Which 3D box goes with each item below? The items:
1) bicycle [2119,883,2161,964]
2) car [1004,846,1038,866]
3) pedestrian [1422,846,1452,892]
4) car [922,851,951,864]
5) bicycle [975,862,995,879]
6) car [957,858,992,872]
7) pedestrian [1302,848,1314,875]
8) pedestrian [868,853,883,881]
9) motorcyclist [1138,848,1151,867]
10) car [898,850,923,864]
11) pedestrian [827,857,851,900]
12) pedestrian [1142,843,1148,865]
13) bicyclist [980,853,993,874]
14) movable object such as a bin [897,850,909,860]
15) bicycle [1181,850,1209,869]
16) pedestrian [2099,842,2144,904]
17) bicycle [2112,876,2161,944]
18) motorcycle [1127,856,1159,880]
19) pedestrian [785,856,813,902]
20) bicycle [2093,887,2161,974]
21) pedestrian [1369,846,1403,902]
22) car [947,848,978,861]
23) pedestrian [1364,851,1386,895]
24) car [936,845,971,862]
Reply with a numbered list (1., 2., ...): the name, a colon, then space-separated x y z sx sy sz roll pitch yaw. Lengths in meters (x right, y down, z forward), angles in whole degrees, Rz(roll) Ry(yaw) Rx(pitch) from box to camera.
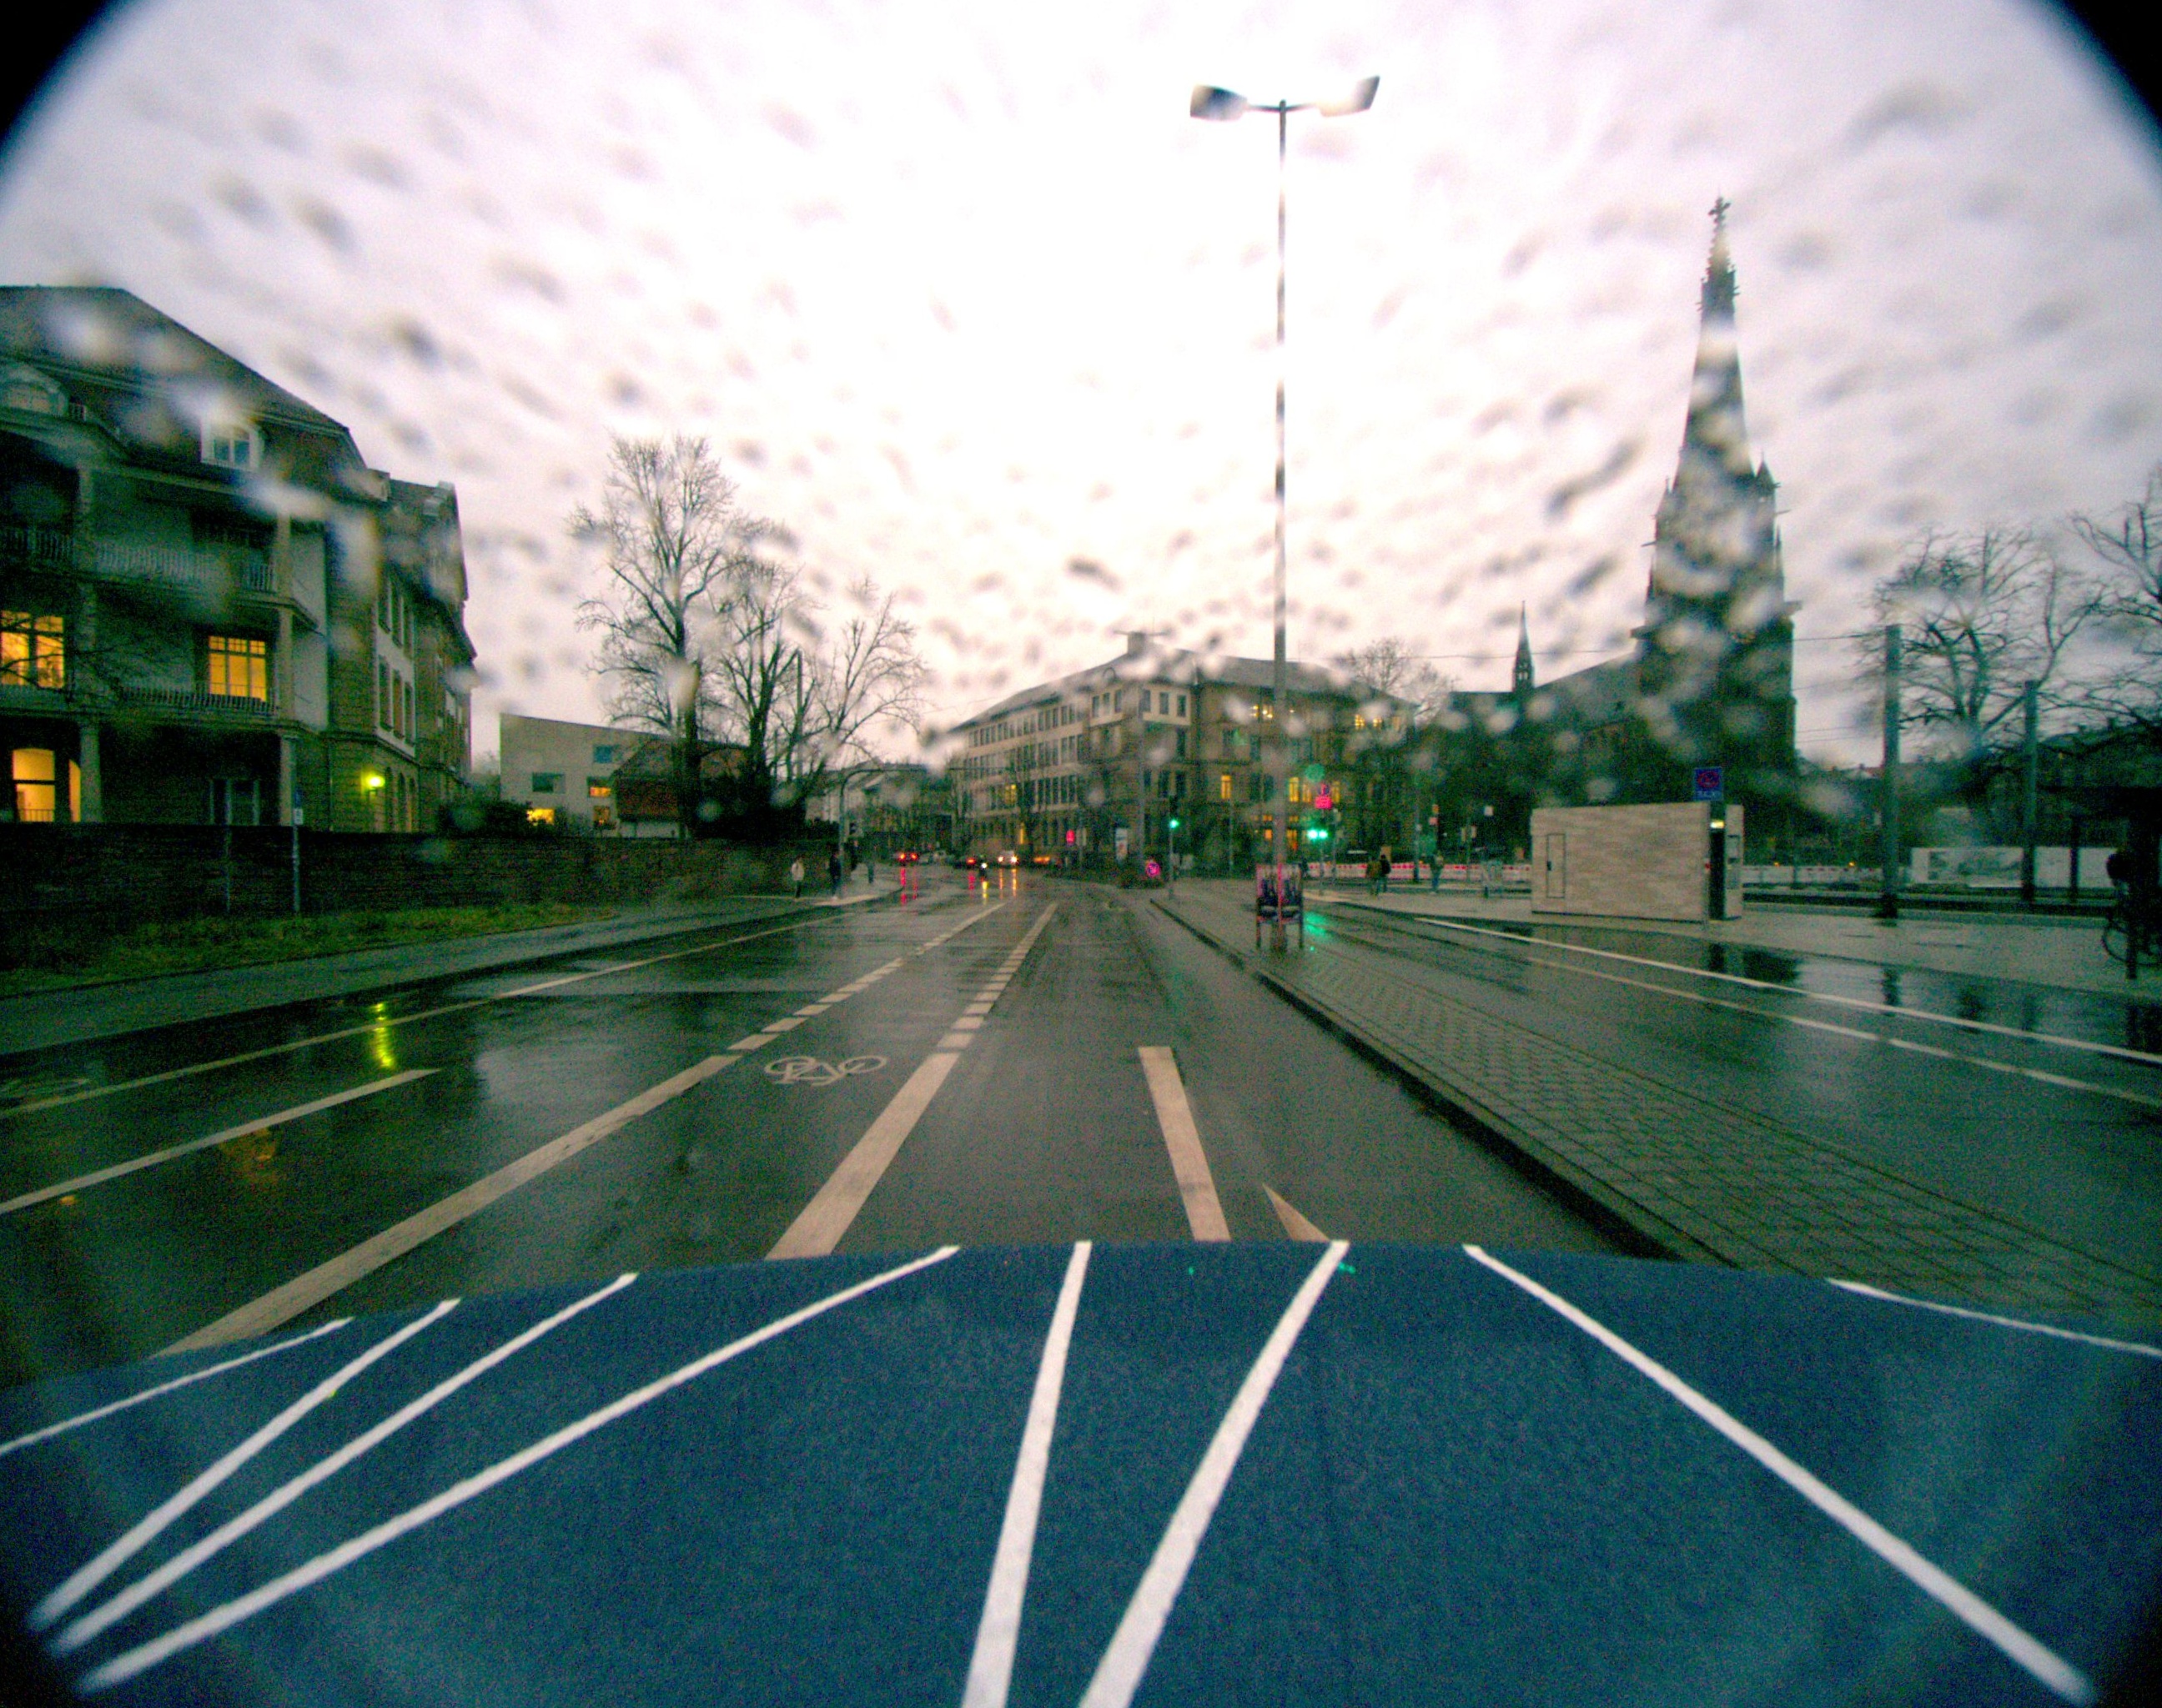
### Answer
1. bicycle: 16.632 1.067 10.956 0.551 1.158 1.894 -3 3 -29
2. car: -6.588 0.216 84.394 1.908 2.022 4.809 -1 2 19
3. pedestrian: 14.419 0.602 30.805 0.605 1.803 0.824 -4 1 -12
4. car: -20.036 0.484 105.469 1.771 1.582 4.191 0 3 27
5. bicycle: -6.432 1.093 51.020 0.725 1.084 2.281 -2 0 -23
6. car: -10.820 1.101 77.147 1.756 1.370 4.354 1 0 -34
7. pedestrian: 17.199 0.533 57.592 0.740 2.003 0.646 0 3 31
8. pedestrian: -12.404 0.793 45.847 0.808 1.675 1.155 1 0 -16
9. motorcyclist: 4.090 0.199 48.662 0.538 1.187 0.609 -3 3 -32
10. car: -20.435 0.375 90.785 1.763 1.652 4.519 1 0 -28
11. pedestrian: -9.522 0.941 29.896 0.792 1.666 0.729 1 1 -12
12. pedestrian: 6.133 -0.006 72.674 0.571 2.003 0.587 -1 3 5
13. bicyclist: -6.364 0.623 51.038 0.718 1.335 0.718 -3 3 -18
14. movable object such as a bin: -26.940 0.218 114.919 1.341 1.456 0.987 -1 3 19
15. bicycle: 10.414 0.539 69.549 2.424 1.679 0.714 -1 3 17
16. pedestrian: 30.235 0.533 22.084 0.715 1.747 0.715 -2 3 -34
17. bicycle: 19.631 1.016 13.240 0.551 1.158 1.894 -3 3 -29
18. motorcycle: 3.956 0.861 48.900 0.833 1.488 2.308 0 1 -32
19. pedestrian: -10.647 0.934 28.654 0.963 1.666 0.778 1 1 -21
20. bicycle: 15.576 1.106 10.438 0.551 1.158 1.938 -3 3 -29
21. pedestrian: 13.266 0.837 33.065 0.996 2.357 1.063 -2 3 -4
22. car: -15.282 0.090 98.191 1.819 1.531 3.983 0 3 29
23. pedestrian: 11.392 0.730 29.434 0.673 1.665 0.731 0 3 32
24. car: -16.866 -0.056 100.669 1.961 2.042 4.629 0 3 29
